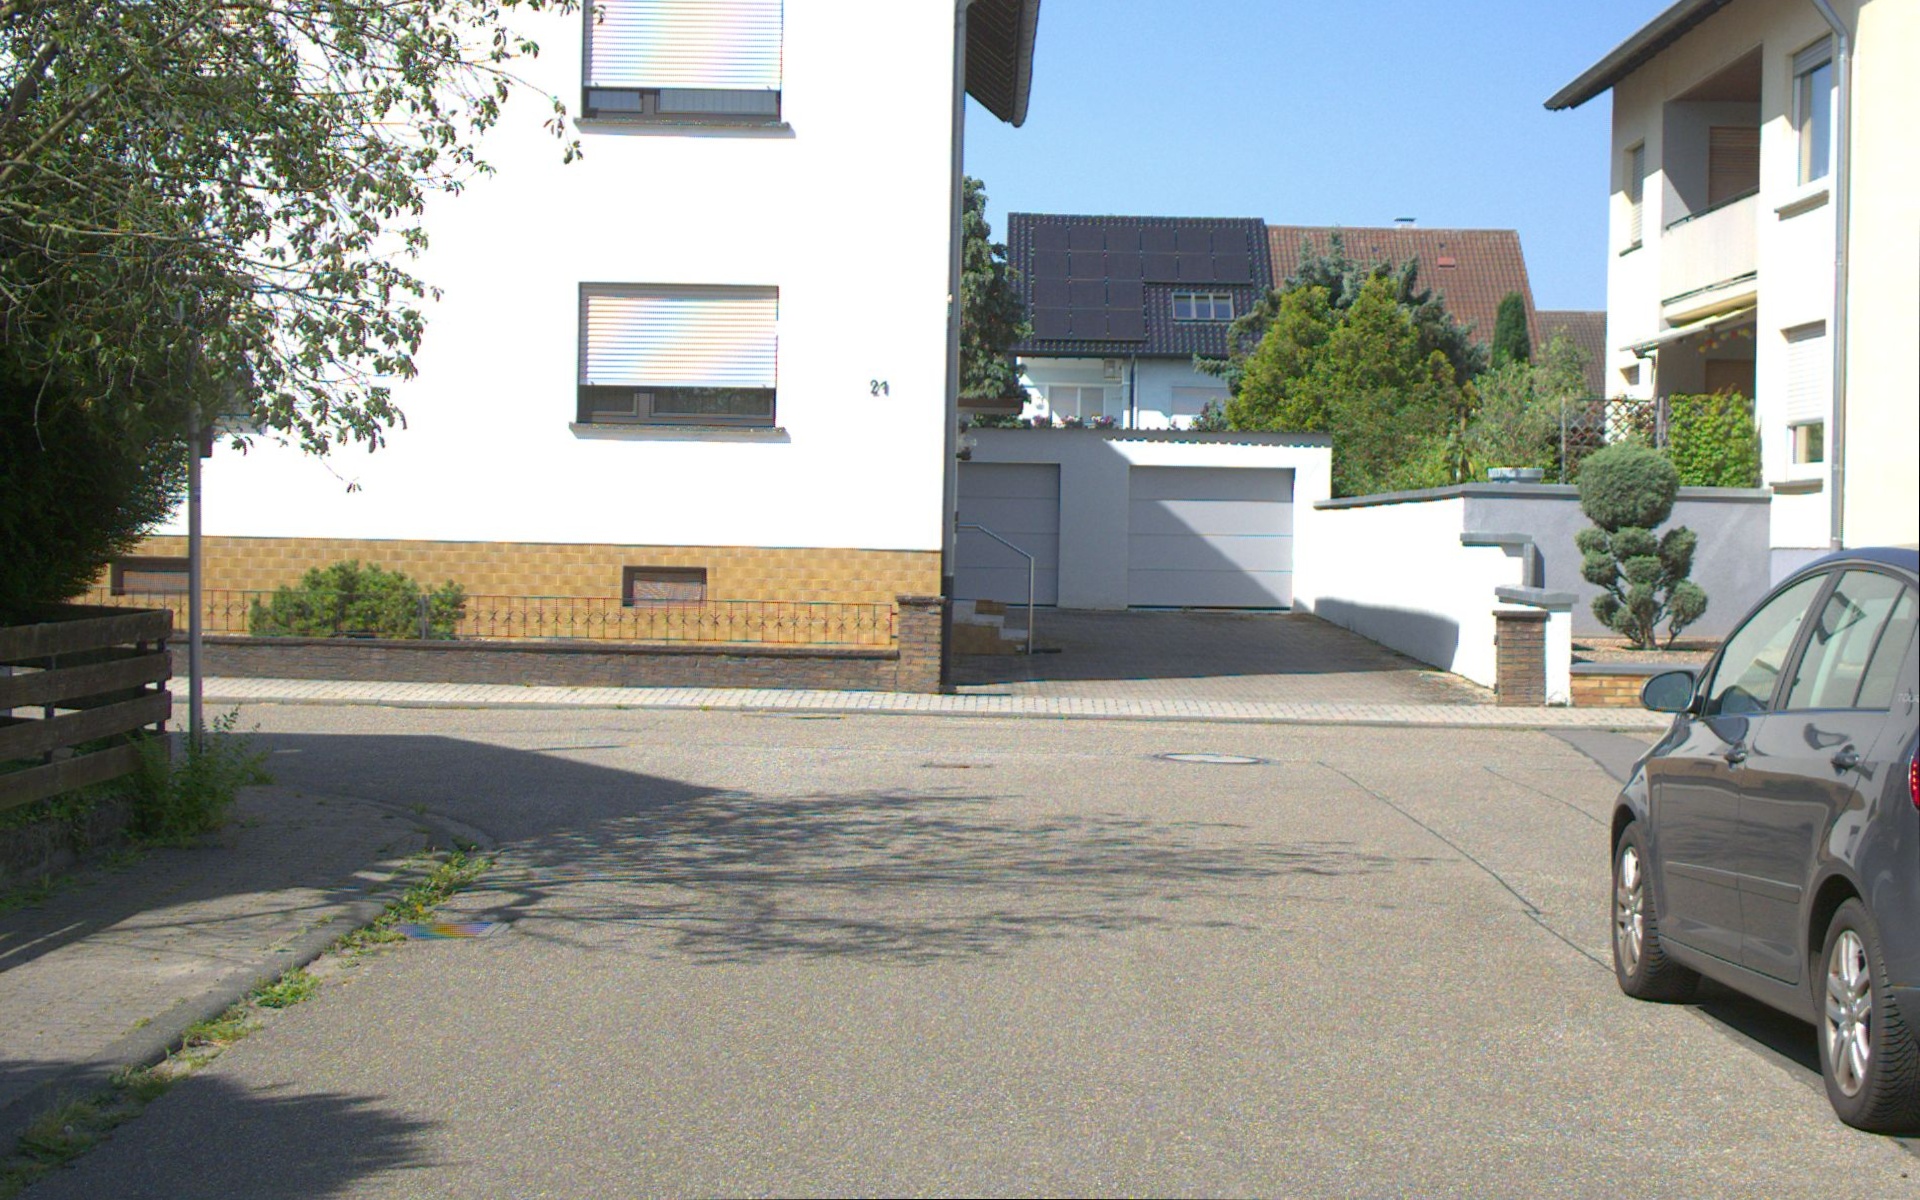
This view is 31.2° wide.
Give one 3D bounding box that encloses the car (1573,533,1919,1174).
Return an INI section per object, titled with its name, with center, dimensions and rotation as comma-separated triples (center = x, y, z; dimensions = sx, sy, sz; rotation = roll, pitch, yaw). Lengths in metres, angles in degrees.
[car]
center = 3.110, 0.620, 10.405
dimensions = 1.645, 1.540, 4.048
rotation = 3, 1, -1
